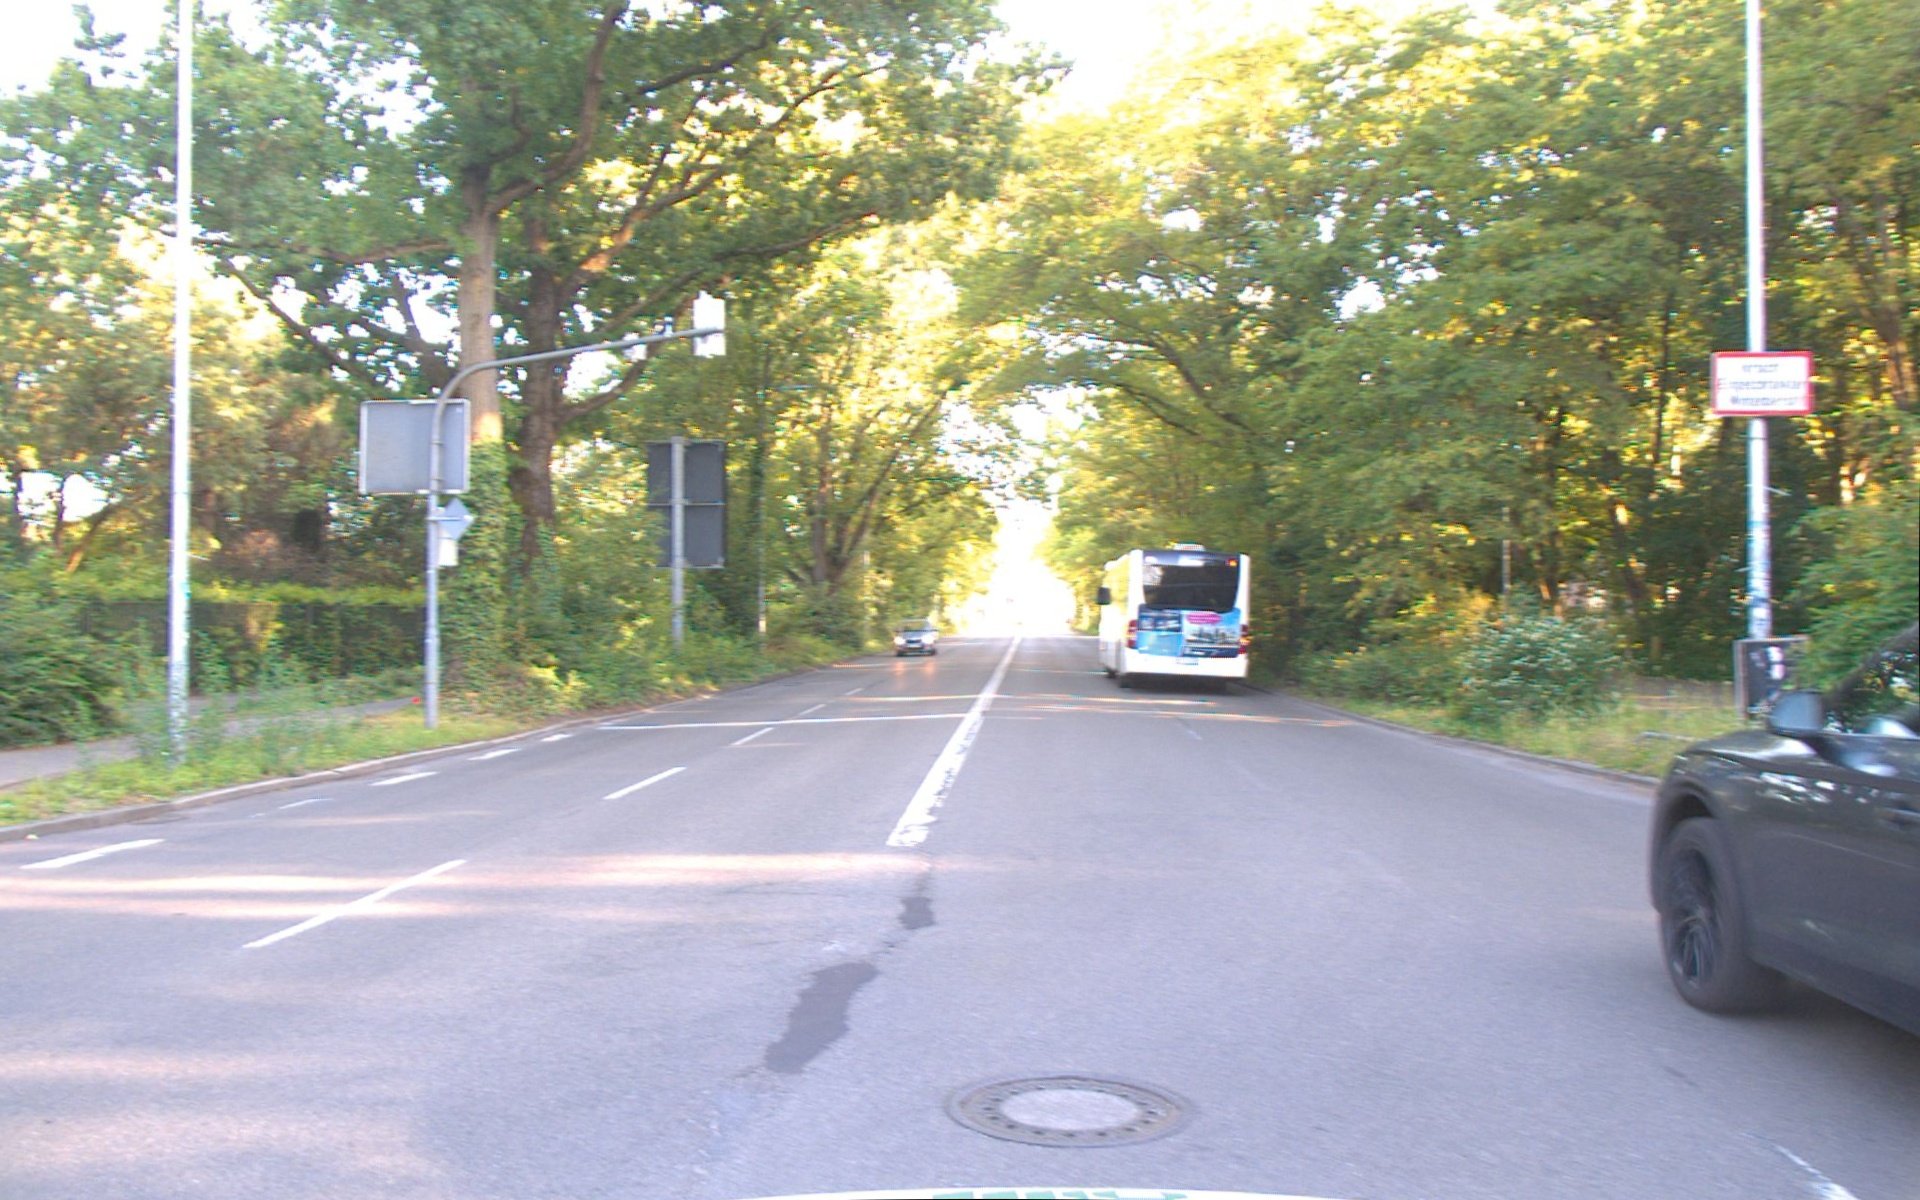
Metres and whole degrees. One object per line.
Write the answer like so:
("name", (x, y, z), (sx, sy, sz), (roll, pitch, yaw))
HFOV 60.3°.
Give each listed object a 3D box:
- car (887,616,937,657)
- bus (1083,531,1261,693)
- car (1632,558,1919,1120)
("car", (-1.999, 1.507, 69.503), (1.769, 1.607, 4.320), (-3, -1, 2))
("bus", (4.725, 0.298, 39.428), (2.950, 3.141, 12.272), (2, 0, 2))
("car", (3.773, 0.708, 4.838), (1.947, 1.635, 4.363), (1, -1, 2))
